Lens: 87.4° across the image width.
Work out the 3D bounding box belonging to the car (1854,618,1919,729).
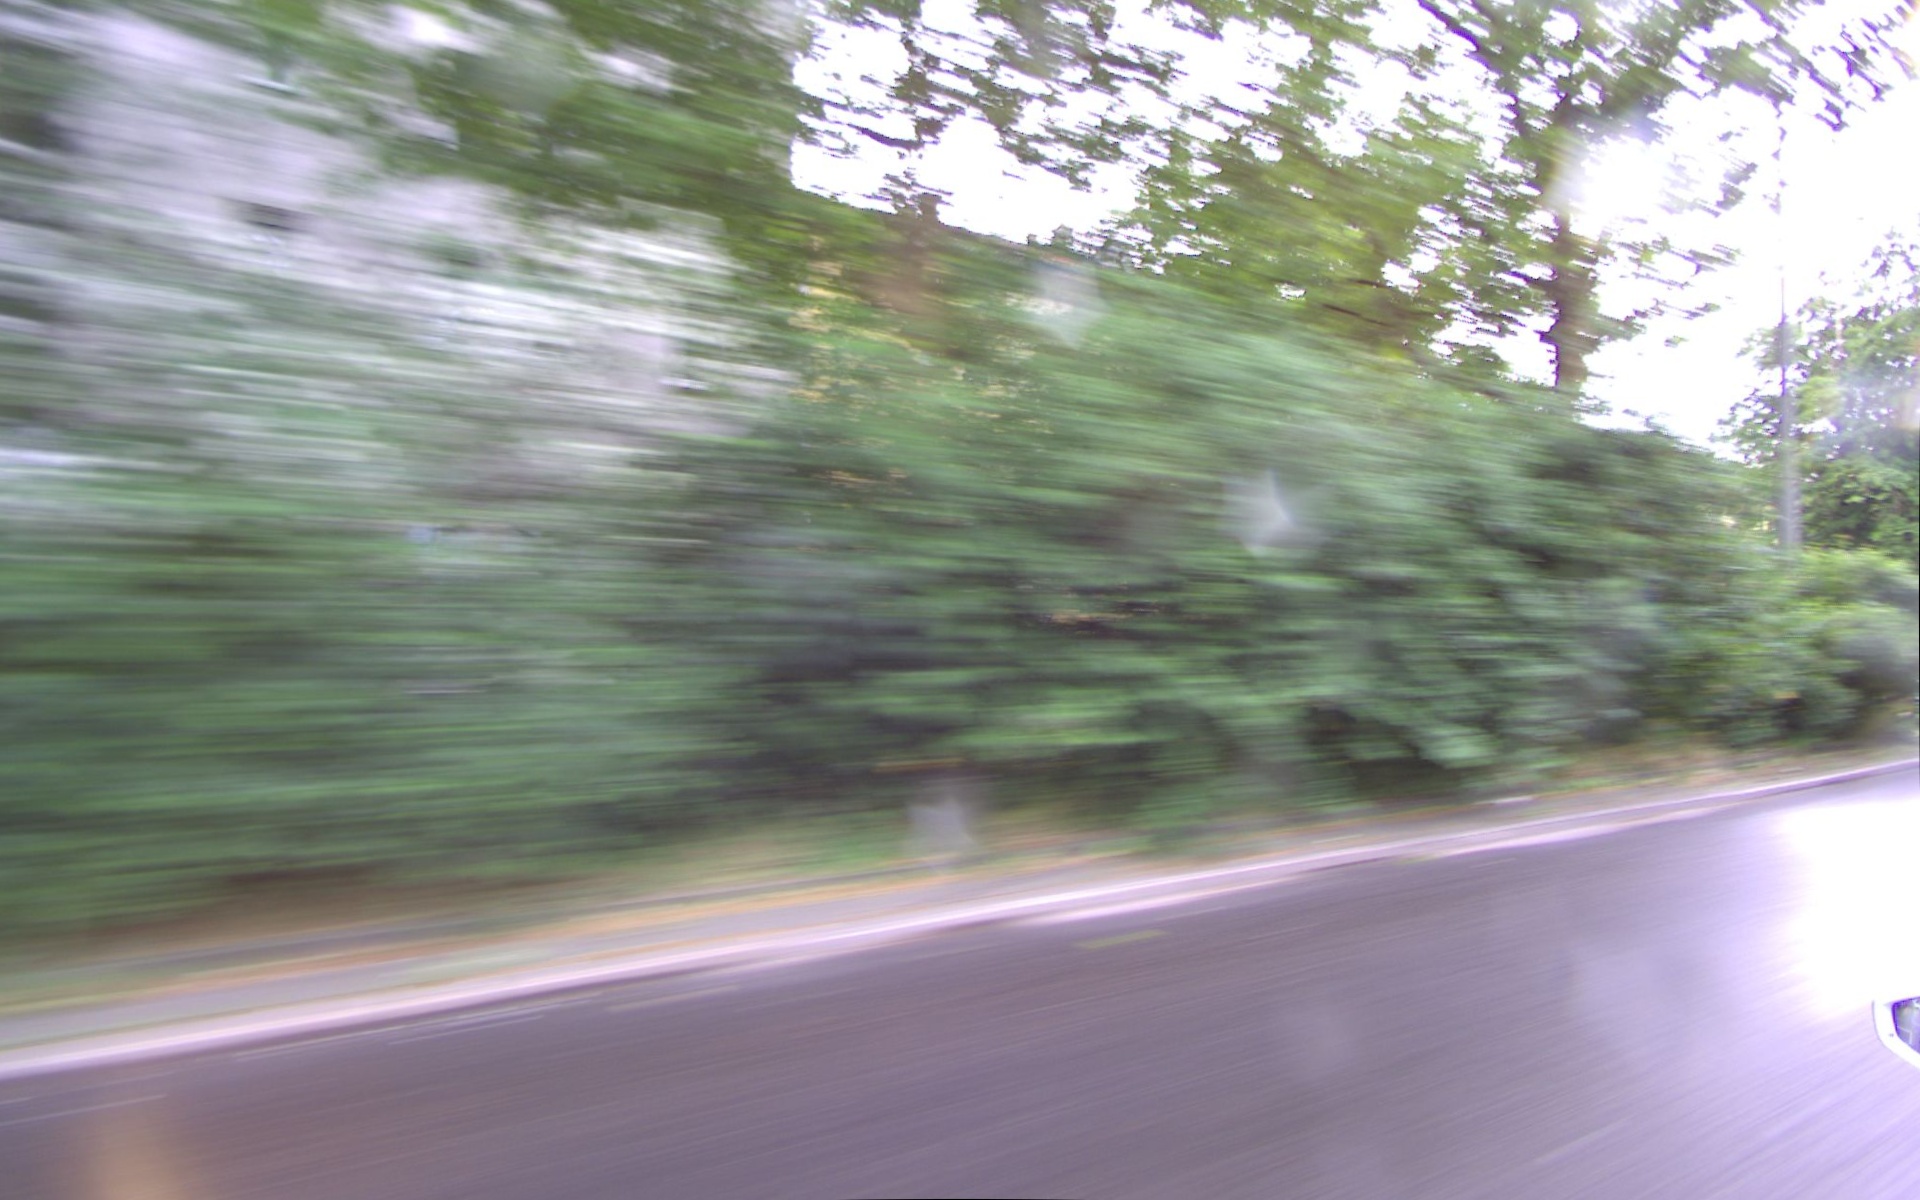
[{"bbox_3d":[16.643,1.120,16.294,4.508,1.678,1.727,0,-5,-29],"label":"car"}]

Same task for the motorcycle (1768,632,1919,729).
[{"bbox_3d":[13.139,1.170,14.705,0.774,1.332,1.832,1,-4,-30],"label":"motorcycle"}]
